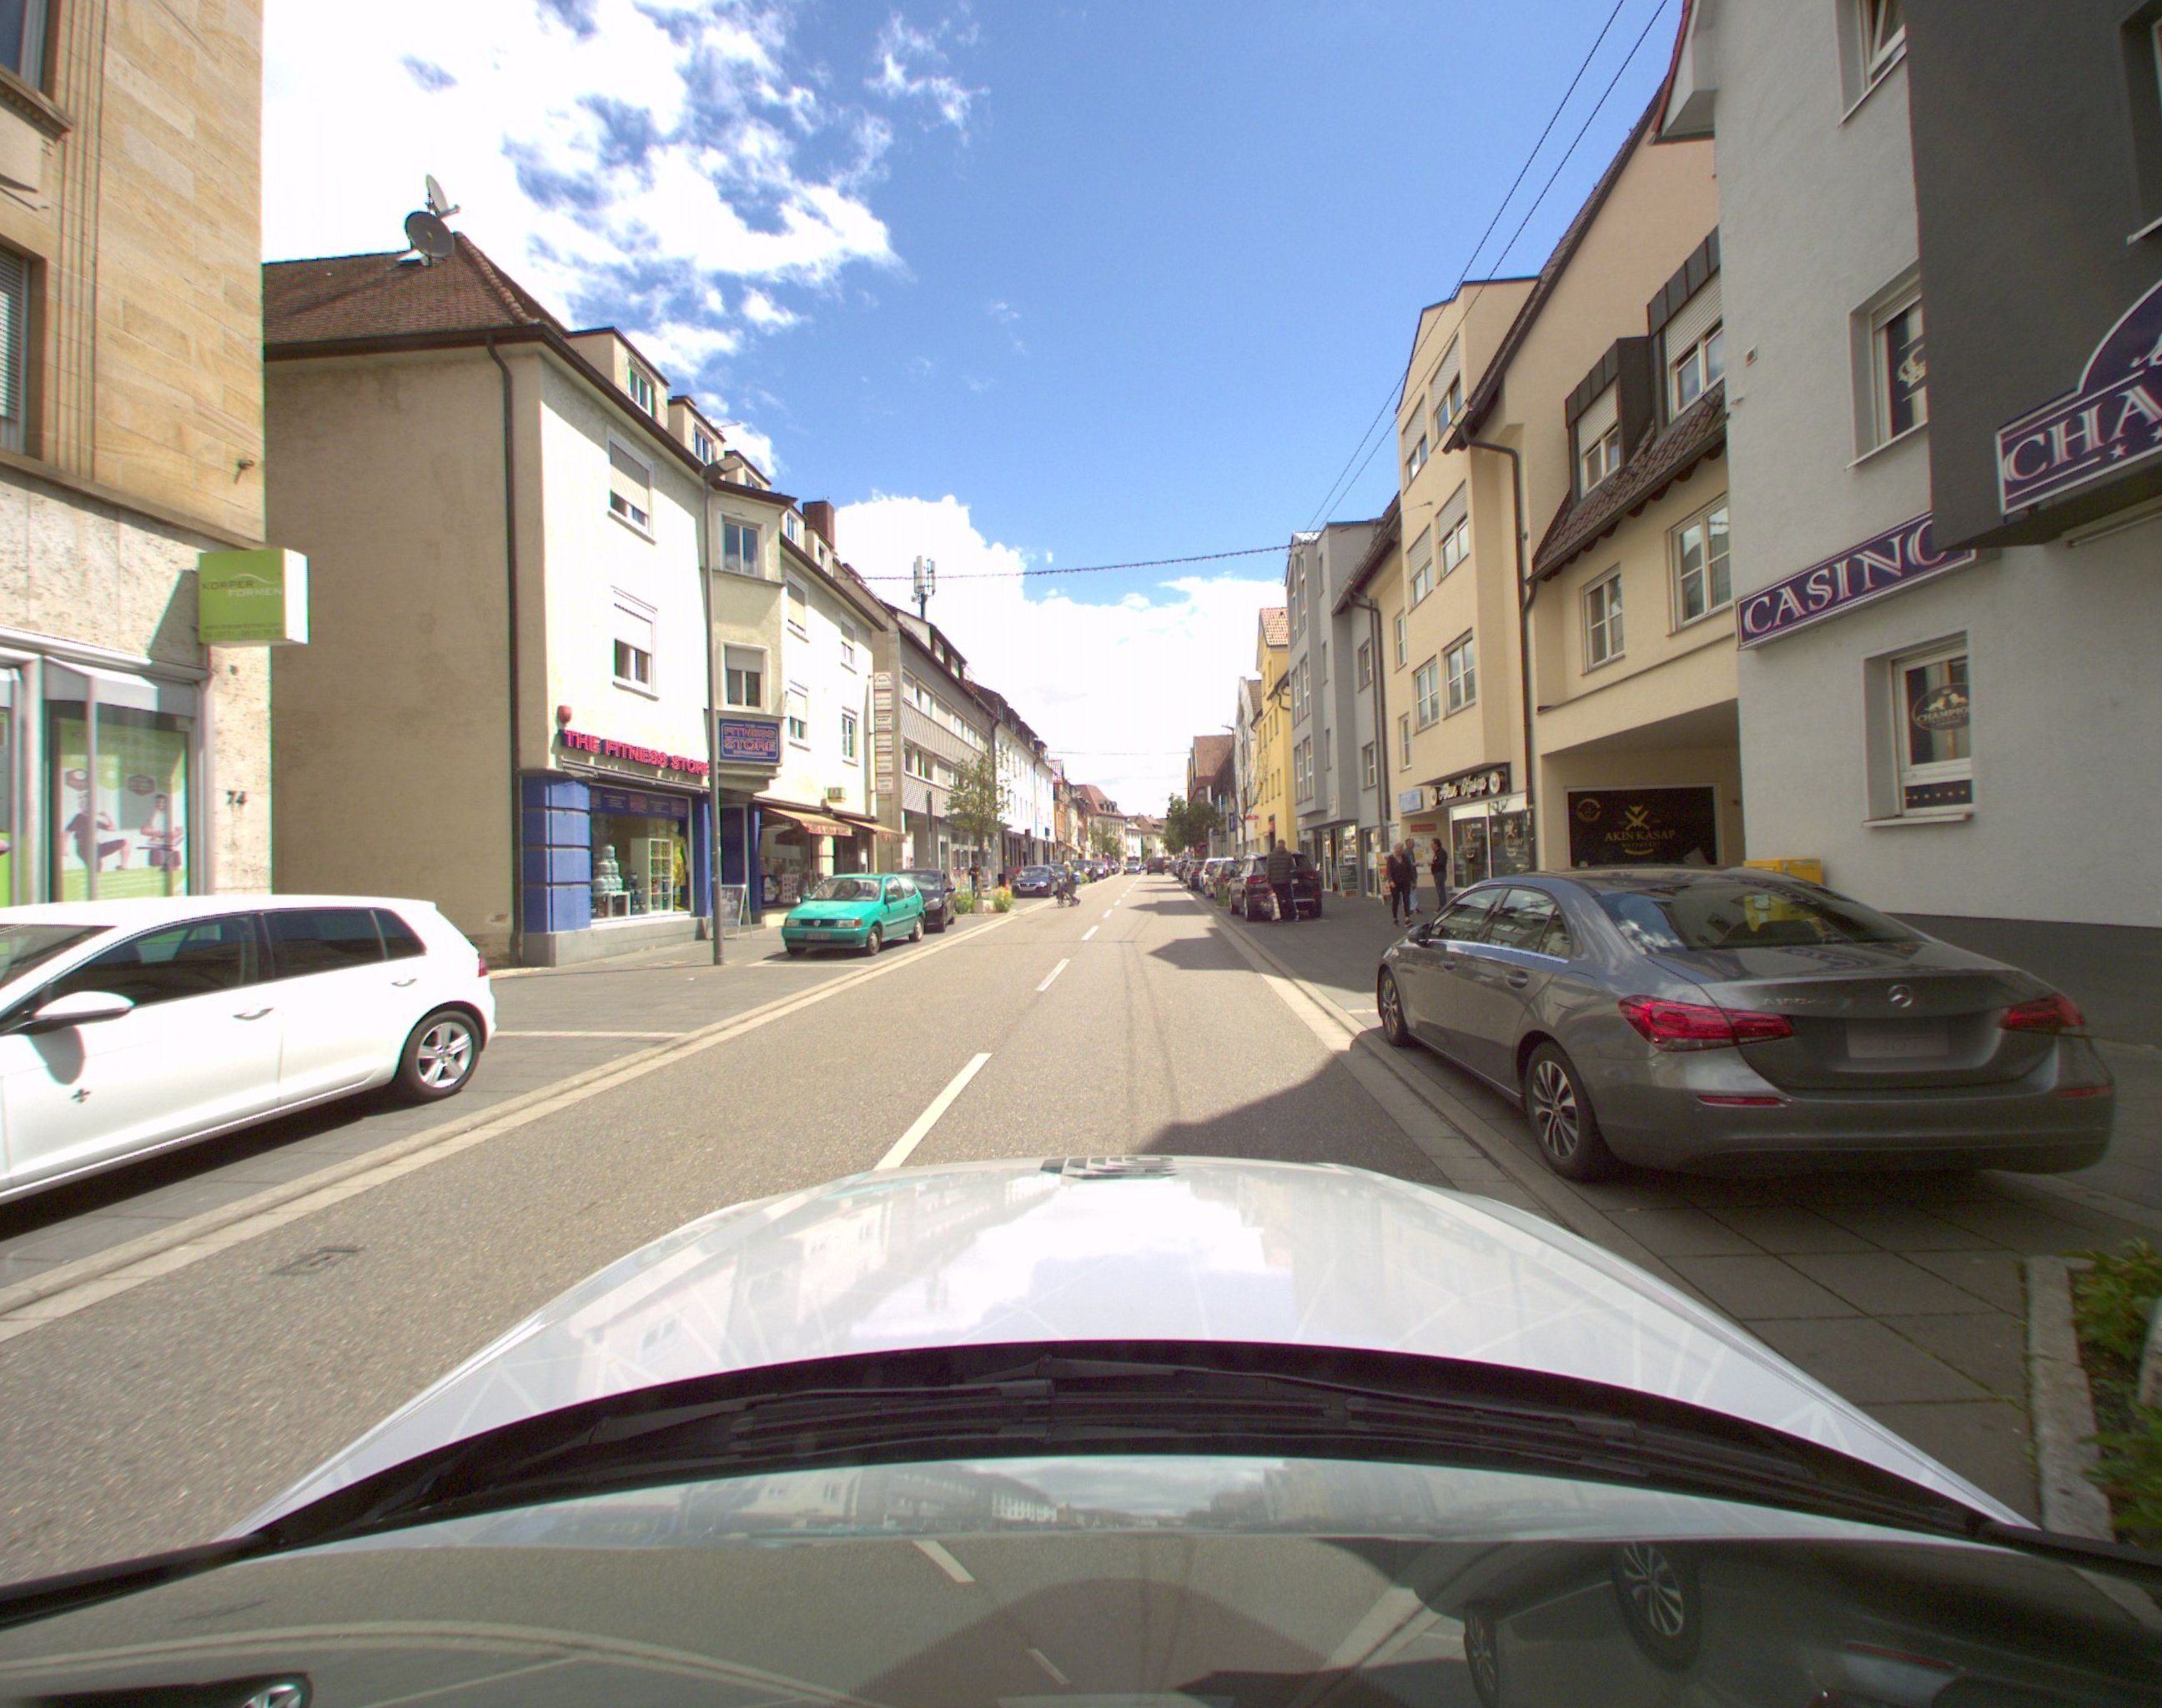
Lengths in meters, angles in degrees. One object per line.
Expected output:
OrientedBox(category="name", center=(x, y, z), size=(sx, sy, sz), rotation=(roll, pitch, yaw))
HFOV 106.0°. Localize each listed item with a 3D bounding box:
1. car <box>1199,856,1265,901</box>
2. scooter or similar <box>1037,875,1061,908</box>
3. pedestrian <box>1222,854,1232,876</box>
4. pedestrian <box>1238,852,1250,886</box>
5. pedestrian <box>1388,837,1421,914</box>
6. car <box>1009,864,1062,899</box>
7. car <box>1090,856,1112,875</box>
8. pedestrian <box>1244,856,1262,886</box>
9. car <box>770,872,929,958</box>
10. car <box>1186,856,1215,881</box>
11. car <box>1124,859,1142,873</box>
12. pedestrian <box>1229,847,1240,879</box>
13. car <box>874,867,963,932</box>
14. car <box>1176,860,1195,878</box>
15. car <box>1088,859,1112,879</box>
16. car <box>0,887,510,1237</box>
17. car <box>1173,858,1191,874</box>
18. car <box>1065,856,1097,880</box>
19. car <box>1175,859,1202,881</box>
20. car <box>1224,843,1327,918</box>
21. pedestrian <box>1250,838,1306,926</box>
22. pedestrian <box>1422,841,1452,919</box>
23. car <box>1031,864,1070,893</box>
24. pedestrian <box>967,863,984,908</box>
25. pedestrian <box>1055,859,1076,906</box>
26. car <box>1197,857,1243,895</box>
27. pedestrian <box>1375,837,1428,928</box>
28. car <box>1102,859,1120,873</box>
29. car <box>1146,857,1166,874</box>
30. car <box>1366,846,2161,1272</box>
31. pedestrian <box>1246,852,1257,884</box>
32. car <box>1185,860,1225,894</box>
OrientedBox(category="car", center=(5.498, 0.900, 30.135), size=(1.683, 1.440, 4.297), rotation=(-4, -1, 2))
OrientedBox(category="scooter or similar", center=(-1.119, 1.305, 28.654), size=(0.779, 1.126, 0.630), rotation=(0, -1, 0))
OrientedBox(category="pedestrian", center=(11.696, 0.887, 65.095), size=(0.737, 1.737, 0.758), rotation=(0, -1, 5))
OrientedBox(category="pedestrian", center=(8.864, 0.811, 44.267), size=(0.585, 1.841, 0.577), rotation=(0, -2, 5))
OrientedBox(category="pedestrian", center=(7.341, 0.477, 18.491), size=(0.533, 1.718, 0.607), rotation=(0, -1, 3))
OrientedBox(category="car", center=(-2.086, 1.239, 38.590), size=(1.781, 1.513, 4.719), rotation=(-1, -1, 5))
OrientedBox(category="car", center=(2.085, 1.204, 82.386), size=(1.807, 1.889, 4.848), rotation=(0, -1, 6))
OrientedBox(category="pedestrian", center=(9.089, 0.876, 43.066), size=(0.746, 1.553, 0.727), rotation=(-2, -2, 4))
OrientedBox(category="car", center=(-4.183, 1.046, 15.314), size=(1.577, 1.414, 3.675), rotation=(0, -1, 7))
OrientedBox(category="car", center=(7.505, 0.926, 51.541), size=(1.712, 1.476, 4.361), rotation=(0, -1, 6))
OrientedBox(category="car", center=(5.934, 1.344, 92.198), size=(1.896, 1.563, 4.652), rotation=(0, -1, 6))
OrientedBox(category="pedestrian", center=(8.841, 0.538, 46.850), size=(0.585, 1.841, 0.577), rotation=(0, -2, 5))
OrientedBox(category="car", center=(-3.905, 1.060, 20.087), size=(1.593, 1.446, 3.553), rotation=(0, -1, -2))
OrientedBox(category="car", center=(9.580, 1.389, 75.039), size=(1.712, 1.577, 4.436), rotation=(0, -1, 6))
OrientedBox(category="car", center=(1.783, 1.366, 74.635), size=(1.806, 1.755, 4.472), rotation=(0, -1, 7))
OrientedBox(category="car", center=(-5.393, 0.916, 4.242), size=(1.838, 1.398, 4.038), rotation=(0, -1, 2))
OrientedBox(category="car", center=(9.963, 1.220, 80.520), size=(1.712, 1.494, 4.116), rotation=(0, -1, 6))
OrientedBox(category="car", center=(0.063, 1.094, 61.529), size=(1.806, 1.755, 4.679), rotation=(0, -1, 8))
OrientedBox(category="car", center=(7.939, 1.197, 60.476), size=(1.713, 1.577, 4.113), rotation=(0, -1, 4))
OrientedBox(category="car", center=(4.780, 0.624, 20.573), size=(1.791, 1.603, 4.208), rotation=(-3, -1, 4))
OrientedBox(category="pedestrian", center=(4.370, 0.612, 18.098), size=(0.971, 1.864, 0.865), rotation=(-3, -2, 3))
OrientedBox(category="pedestrian", center=(7.921, 0.572, 18.108), size=(0.434, 1.718, 0.537), rotation=(0, -2, 2))
OrientedBox(category="car", center=(-1.611, 1.267, 43.699), size=(1.783, 1.503, 4.180), rotation=(0, -1, 2))
OrientedBox(category="pedestrian", center=(-4.167, 1.235, 32.201), size=(0.546, 1.757, 0.729), rotation=(0, -1, 2))
OrientedBox(category="pedestrian", center=(-0.550, 1.001, 28.665), size=(0.729, 1.618, 0.651), rotation=(0, -1, 0))
OrientedBox(category="car", center=(6.057, 0.966, 35.826), size=(1.681, 1.574, 3.761), rotation=(0, -1, 5))
OrientedBox(category="pedestrian", center=(6.246, 0.558, 15.908), size=(0.740, 1.718, 0.656), rotation=(-1, -2, 3))
OrientedBox(category="car", center=(3.467, 1.344, 94.759), size=(1.790, 1.598, 4.395), rotation=(-1, -1, 5))
OrientedBox(category="car", center=(8.041, 1.270, 87.795), size=(2.031, 1.848, 5.004), rotation=(0, -1, 4))
OrientedBox(category="car", center=(3.083, 0.730, 4.972), size=(1.697, 1.420, 4.327), rotation=(0, -1, 8))
OrientedBox(category="pedestrian", center=(9.941, 0.827, 47.426), size=(0.585, 1.841, 0.577), rotation=(0, -2, 5))
OrientedBox(category="car", center=(6.130, 1.106, 40.593), size=(1.681, 1.472, 4.529), rotation=(0, 1, 4))
